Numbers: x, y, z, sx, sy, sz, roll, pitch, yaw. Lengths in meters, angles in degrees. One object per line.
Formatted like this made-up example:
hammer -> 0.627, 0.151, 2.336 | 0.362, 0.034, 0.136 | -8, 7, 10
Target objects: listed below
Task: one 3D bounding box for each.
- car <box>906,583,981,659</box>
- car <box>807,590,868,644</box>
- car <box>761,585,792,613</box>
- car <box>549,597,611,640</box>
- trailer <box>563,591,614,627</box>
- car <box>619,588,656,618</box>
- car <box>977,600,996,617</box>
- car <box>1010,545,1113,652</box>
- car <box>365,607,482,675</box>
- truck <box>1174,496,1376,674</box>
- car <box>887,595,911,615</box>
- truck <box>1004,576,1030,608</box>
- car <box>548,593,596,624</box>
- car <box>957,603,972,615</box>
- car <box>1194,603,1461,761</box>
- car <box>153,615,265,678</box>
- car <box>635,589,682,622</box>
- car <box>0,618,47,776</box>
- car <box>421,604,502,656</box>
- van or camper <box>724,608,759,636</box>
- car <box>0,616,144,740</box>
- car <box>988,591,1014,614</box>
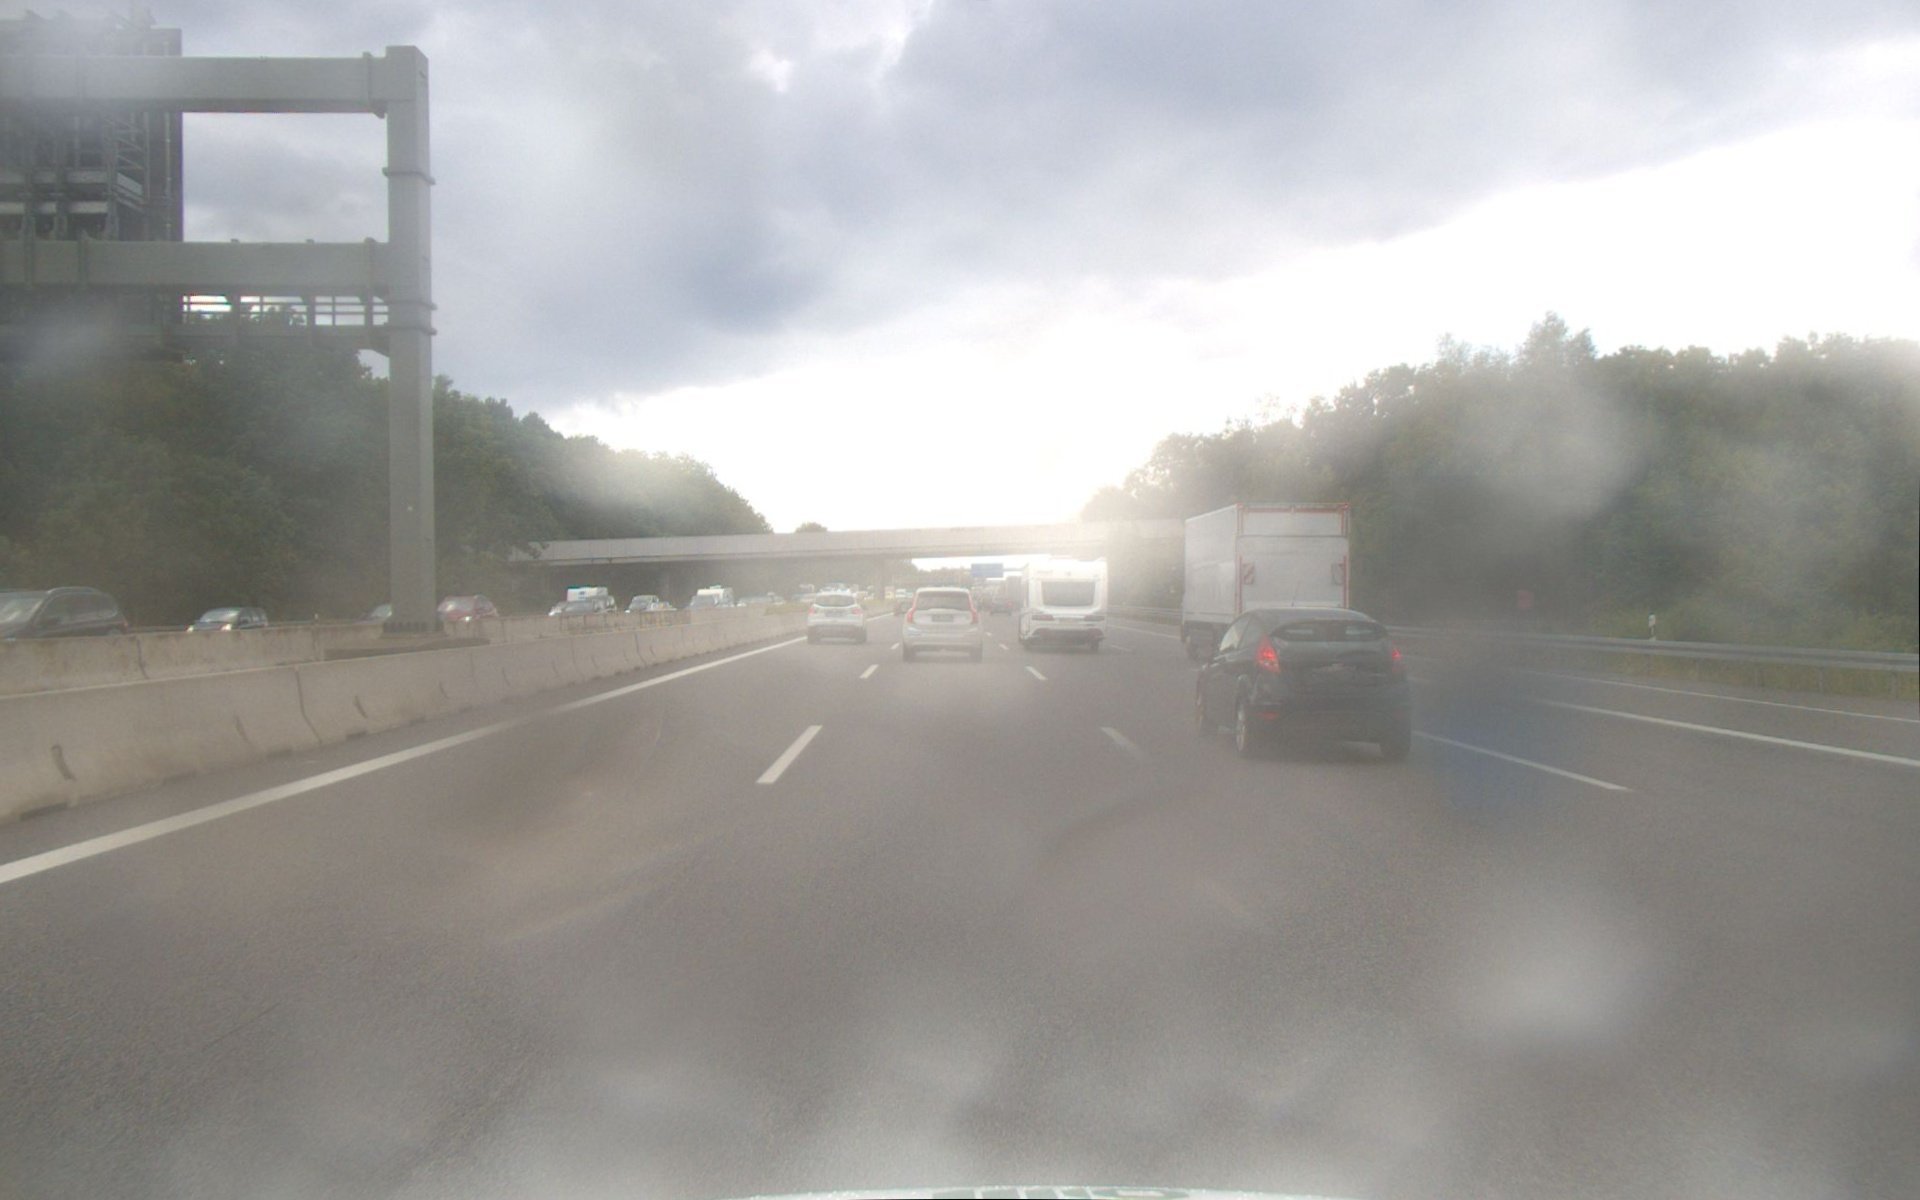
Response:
car -> -0.375, 0.493, 40.821 | 1.744, 1.746, 4.352 | 0, 0, 0
car -> -4.038, 0.523, 54.955 | 1.778, 1.719, 4.850 | 0, 0, -1
car -> -14.867, -0.085, 134.028 | 1.953, 2.219, 5.288 | 0, 0, 0
car -> -18.519, 0.866, 80.843 | 1.953, 2.049, 4.764 | 0, 0, 0
trailer -> -25.591, 0.598, 114.126 | 2.196, 2.416, 5.783 | 0, 0, 0
car -> -22.226, 0.219, 114.249 | 1.780, 2.049, 4.000 | 0, 0, 0
car -> 2.842, 0.922, 179.562 | 2.001, 1.855, 4.903 | 0, 0, 0
car -> 2.925, -0.043, 49.762 | 2.515, 2.946, 7.532 | 0, 0, -1
car -> -13.580, 0.995, 42.122 | 1.694, 1.624, 3.999 | 0, 0, -1
truck -> 7.374, -0.327, 40.292 | 3.069, 3.774, 9.847 | 0, 0, 0
car -> -4.712, 0.348, 128.452 | 1.744, 1.507, 4.352 | 0, 0, -1
truck -> 7.028, -0.968, 203.705 | 2.846, 3.876, 7.273 | 0, 0, 0
car -> -25.552, 0.562, 109.069 | 1.953, 1.986, 5.224 | 0, 0, 0
car -> 0.635, 1.295, 240.156 | 1.844, 1.715, 3.997 | 0, 0, -4
car -> 3.701, 0.763, 17.444 | 1.846, 1.431, 4.282 | 0, 0, 0
car -> -26.228, 1.593, 57.914 | 1.869, 2.049, 4.561 | 0, 0, -1
car -> -18.672, 0.346, 102.609 | 1.953, 1.986, 5.224 | 0, 0, 0
car -> -13.507, 1.266, 20.339 | 1.953, 2.049, 4.759 | 0, 0, -1
car -> -18.023, 1.063, 59.956 | 1.644, 1.776, 4.336 | 0, 0, -1
van or camper -> -22.469, 2.221, 170.227 | 2.552, 2.754, 8.124 | 0, 0, 0
car -> -17.185, 1.346, 30.474 | 1.953, 2.049, 4.759 | 0, 0, -1
car -> 3.364, 0.178, 135.576 | 2.001, 1.855, 4.903 | 0, 0, 0
